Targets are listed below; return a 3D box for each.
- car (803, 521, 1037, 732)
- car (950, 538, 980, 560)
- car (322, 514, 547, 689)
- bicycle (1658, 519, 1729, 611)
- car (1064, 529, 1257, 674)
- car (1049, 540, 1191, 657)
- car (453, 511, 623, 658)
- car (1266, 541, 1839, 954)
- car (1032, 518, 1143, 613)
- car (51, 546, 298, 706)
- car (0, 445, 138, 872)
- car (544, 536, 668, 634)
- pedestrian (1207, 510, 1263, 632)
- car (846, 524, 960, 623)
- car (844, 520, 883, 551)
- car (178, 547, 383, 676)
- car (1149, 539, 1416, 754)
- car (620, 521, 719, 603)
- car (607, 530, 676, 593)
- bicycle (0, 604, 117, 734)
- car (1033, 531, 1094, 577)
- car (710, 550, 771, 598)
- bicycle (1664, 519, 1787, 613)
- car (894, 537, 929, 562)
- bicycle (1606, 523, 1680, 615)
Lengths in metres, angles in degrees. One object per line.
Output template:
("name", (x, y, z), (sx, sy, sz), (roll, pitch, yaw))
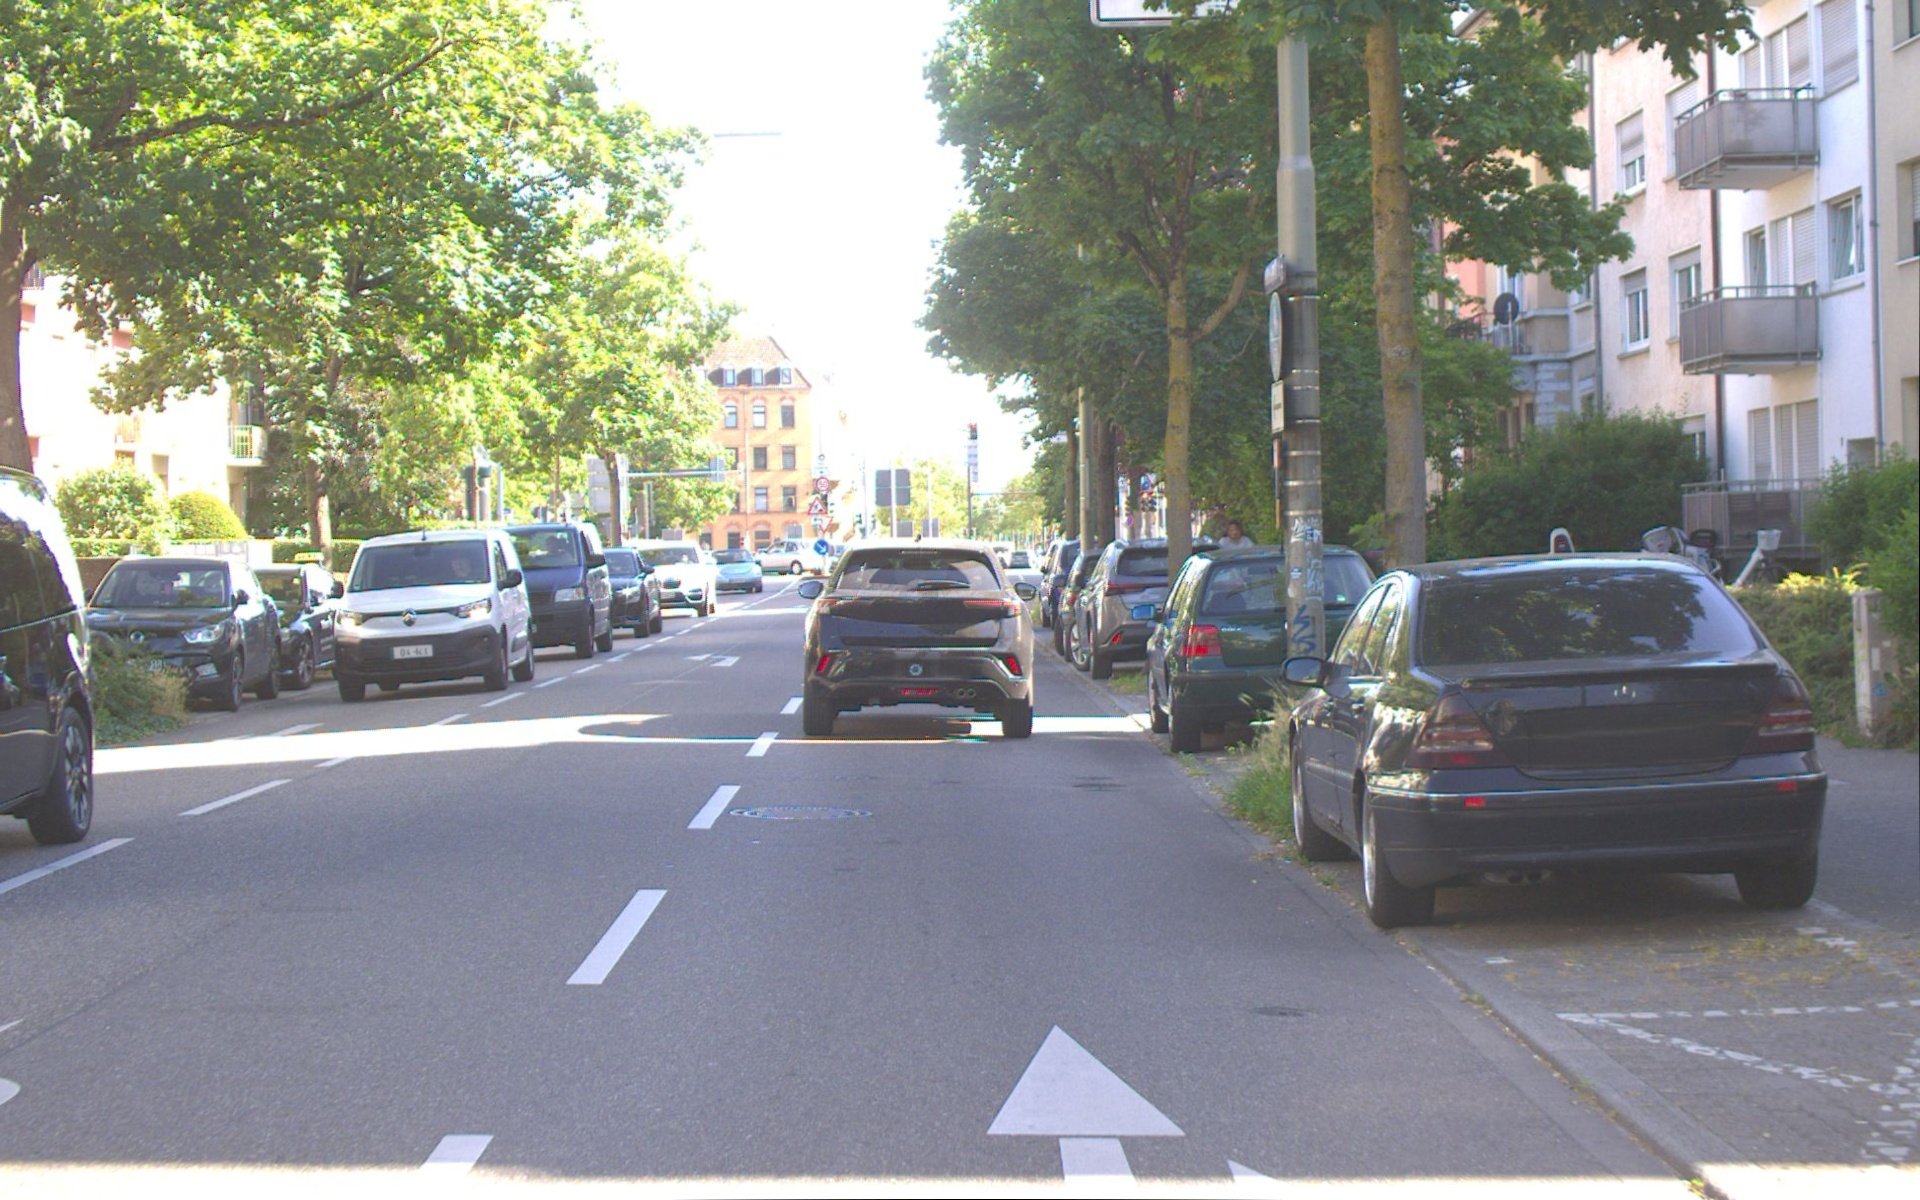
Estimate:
("car", (-0.323, 0.171, 27.515), (1.745, 1.568, 3.558), (0, 1, -1))
("car", (0.364, -3.611, 243.871), (1.993, 1.514, 4.000), (1, 1, 1))
("car", (-5.776, -0.021, 38.267), (1.815, 1.737, 4.493), (-3, 1, -1))
("bicycle", (10.662, -0.519, 50.015), (0.591, 1.283, 1.689), (-4, 1, 0))
("car", (2.181, -0.023, 38.336), (1.714, 1.484, 4.235), (-2, 1, -2))
("car", (2.017, -0.056, 44.162), (1.612, 1.379, 3.976), (-2, 1, 0))
("car", (-5.998, -0.255, 49.325), (1.803, 1.904, 4.712), (-3, 1, -1))
("car", (2.305, 0.487, 14.453), (1.586, 1.391, 4.454), (-3, 1, 0))
("car", (2.176, -0.607, 59.480), (1.559, 1.510, 3.655), (-3, 1, -2))
("car", (-8.271, 0.228, 36.531), (1.722, 1.591, 4.136), (0, 1, -1))
("car", (-5.418, 0.305, 15.924), (2.016, 1.945, 5.179), (-3, 1, -2))
("car", (-6.164, -0.293, 60.223), (1.719, 1.560, 4.343), (-4, 1, -1))
("pedestrian", (3.849, -0.403, 48.122), (0.669, 1.676, 0.776), (-2, 1, -1))
("car", (-0.940, -0.480, 58.133), (1.830, 1.573, 3.839), (-1, 1, 0))
("car", (-4.733, -3.160, 168.510), (1.771, 1.447, 3.886), (-1, 1, 0))
("car", (-8.523, 0.103, 43.499), (1.722, 1.530, 4.680), (0, 1, -1))
("car", (2.313, 0.282, 25.518), (1.692, 1.423, 4.147), (-1, 1, 2))
("car", (-6.363, -0.863, 75.694), (1.806, 1.642, 4.673), (-3, 1, -1))
("car", (-9.533, -1.174, 103.182), (1.818, 1.827, 4.563), (-1, 1, -2))
("bicycle", (-8.327, 0.584, 29.932), (2.025, 1.088, 0.462), (0, 2, 23))
("car", (3.338, -1.511, 111.669), (1.830, 1.447, 3.988), (-1, 1, 0))
("car", (-6.950, -0.844, 109.312), (1.737, 1.377, 3.937), (-2, 1, -1))
("bicycle", (10.740, -0.477, 48.251), (1.537, 1.218, 0.463), (-3, 1, 30))
("car", (-2.869, -2.993, 203.743), (1.810, 1.402, 4.000), (-1, 1, 2))
("bicycle", (9.943, -0.463, 50.125), (0.623, 1.283, 1.842), (-4, 1, 0))
